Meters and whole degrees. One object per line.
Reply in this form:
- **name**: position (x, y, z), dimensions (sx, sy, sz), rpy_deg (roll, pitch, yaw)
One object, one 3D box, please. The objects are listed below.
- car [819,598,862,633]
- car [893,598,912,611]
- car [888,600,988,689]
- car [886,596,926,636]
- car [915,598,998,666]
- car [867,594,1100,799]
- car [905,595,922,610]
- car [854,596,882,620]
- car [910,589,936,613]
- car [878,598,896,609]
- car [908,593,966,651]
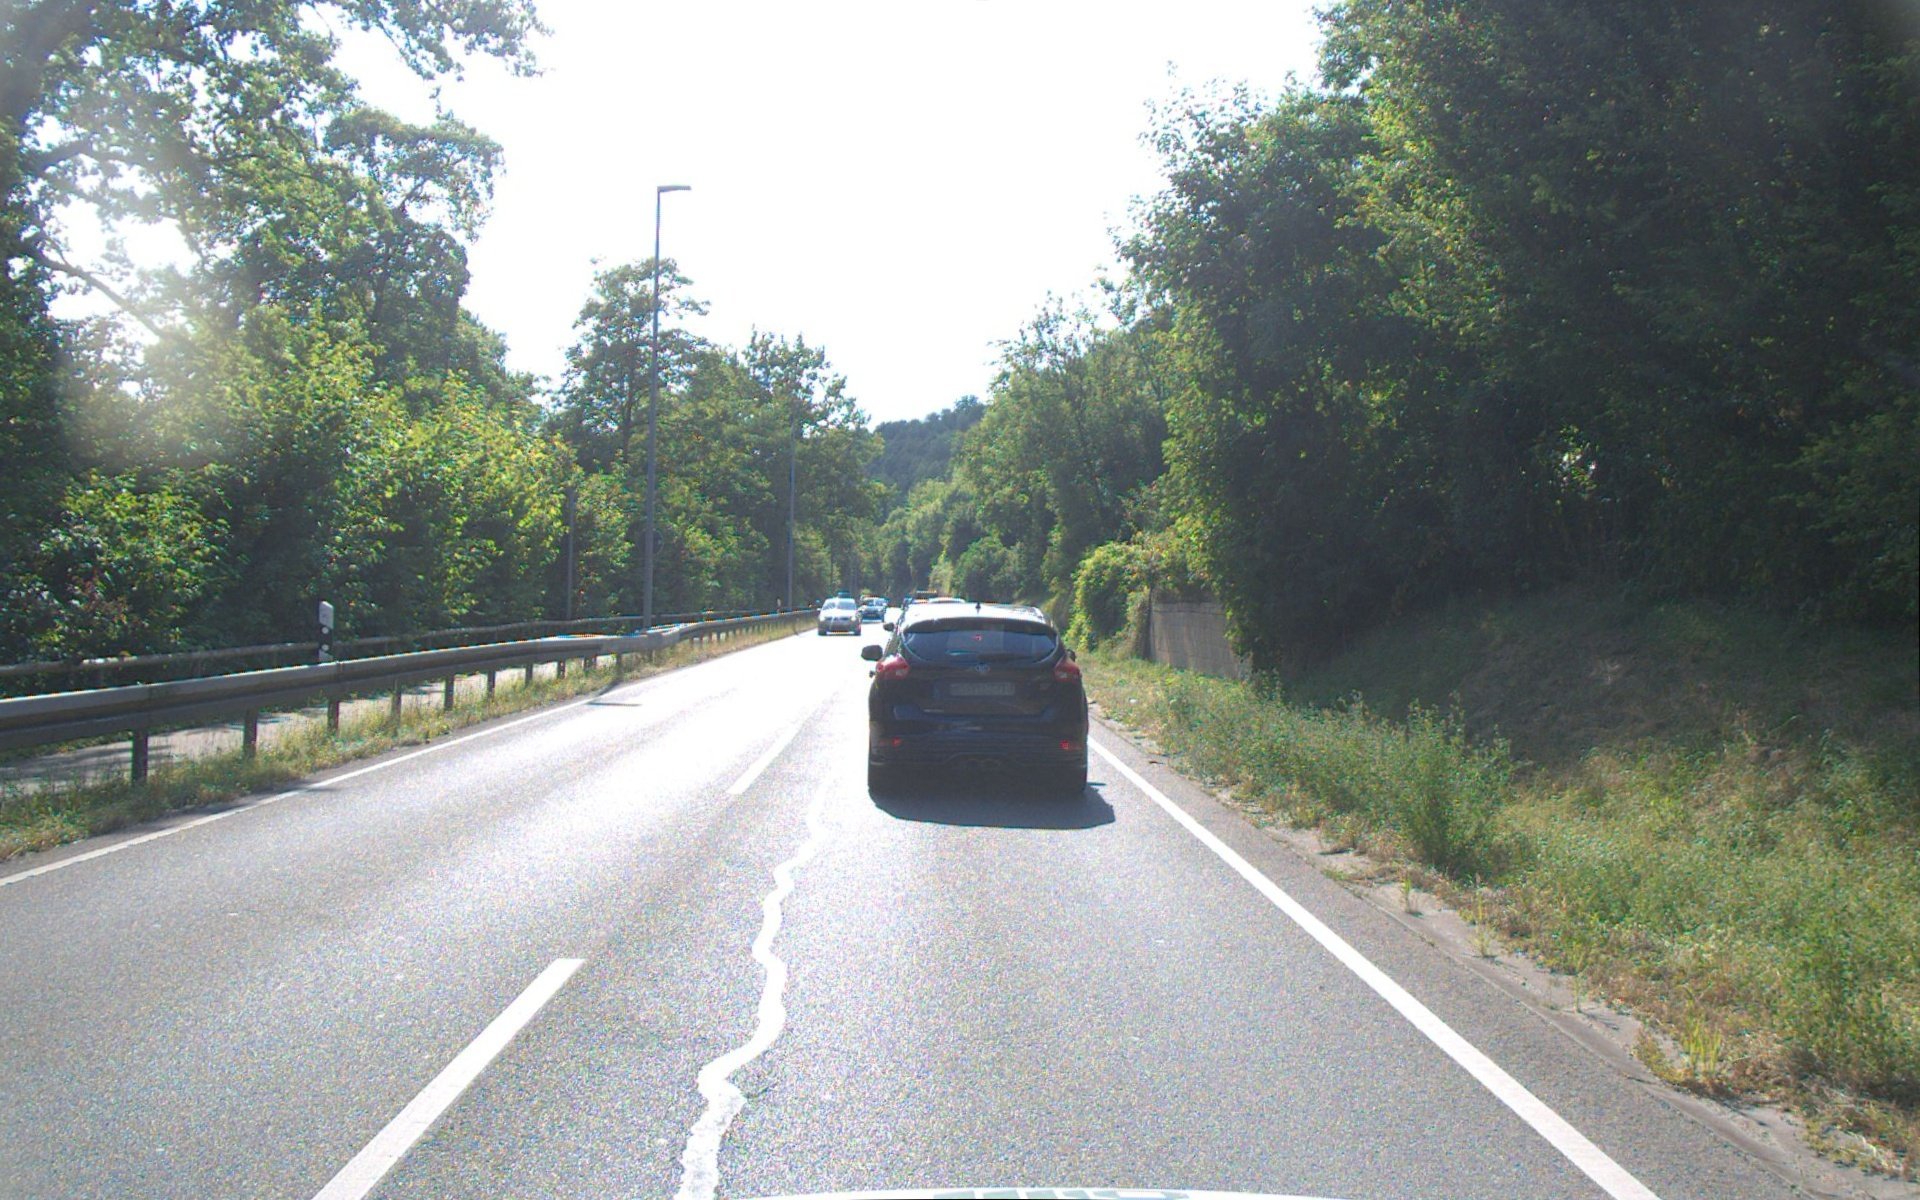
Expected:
- **car**: position (-4.940, 0.606, 68.547), dimensions (1.590, 1.401, 4.046), rpy_deg (0, 0, -2)
- **car**: position (-6.979, 0.496, 200.674), dimensions (1.956, 1.545, 3.992), rpy_deg (0, 0, -8)
- **car**: position (-0.344, 0.725, 29.050), dimensions (1.627, 1.443, 4.000), rpy_deg (1, 0, 0)
- **car**: position (-2.253, 0.653, 69.855), dimensions (1.597, 1.624, 3.999), rpy_deg (0, 0, -1)
- **car**: position (-0.108, 0.681, 37.091), dimensions (1.768, 1.416, 3.999), rpy_deg (0, 0, -1)
- **car**: position (0.146, 0.724, 14.266), dimensions (1.704, 1.482, 3.999), rpy_deg (1, 0, -1)
- **car**: position (-4.890, 0.214, 174.549), dimensions (1.782, 1.545, 3.999), rpy_deg (0, 0, -1)
- **car**: position (-5.973, 0.513, 107.615), dimensions (1.647, 1.489, 4.196), rpy_deg (1, 0, -2)
- **car**: position (-2.771, 0.070, 124.065), dimensions (1.826, 1.812, 3.998), rpy_deg (0, 0, -3)
- **car**: position (-10.146, 0.474, 229.786), dimensions (1.957, 1.545, 3.991), rpy_deg (0, 0, -10)
- **car**: position (-0.681, 0.626, 48.640), dimensions (1.597, 1.624, 3.999), rpy_deg (0, 0, -1)
